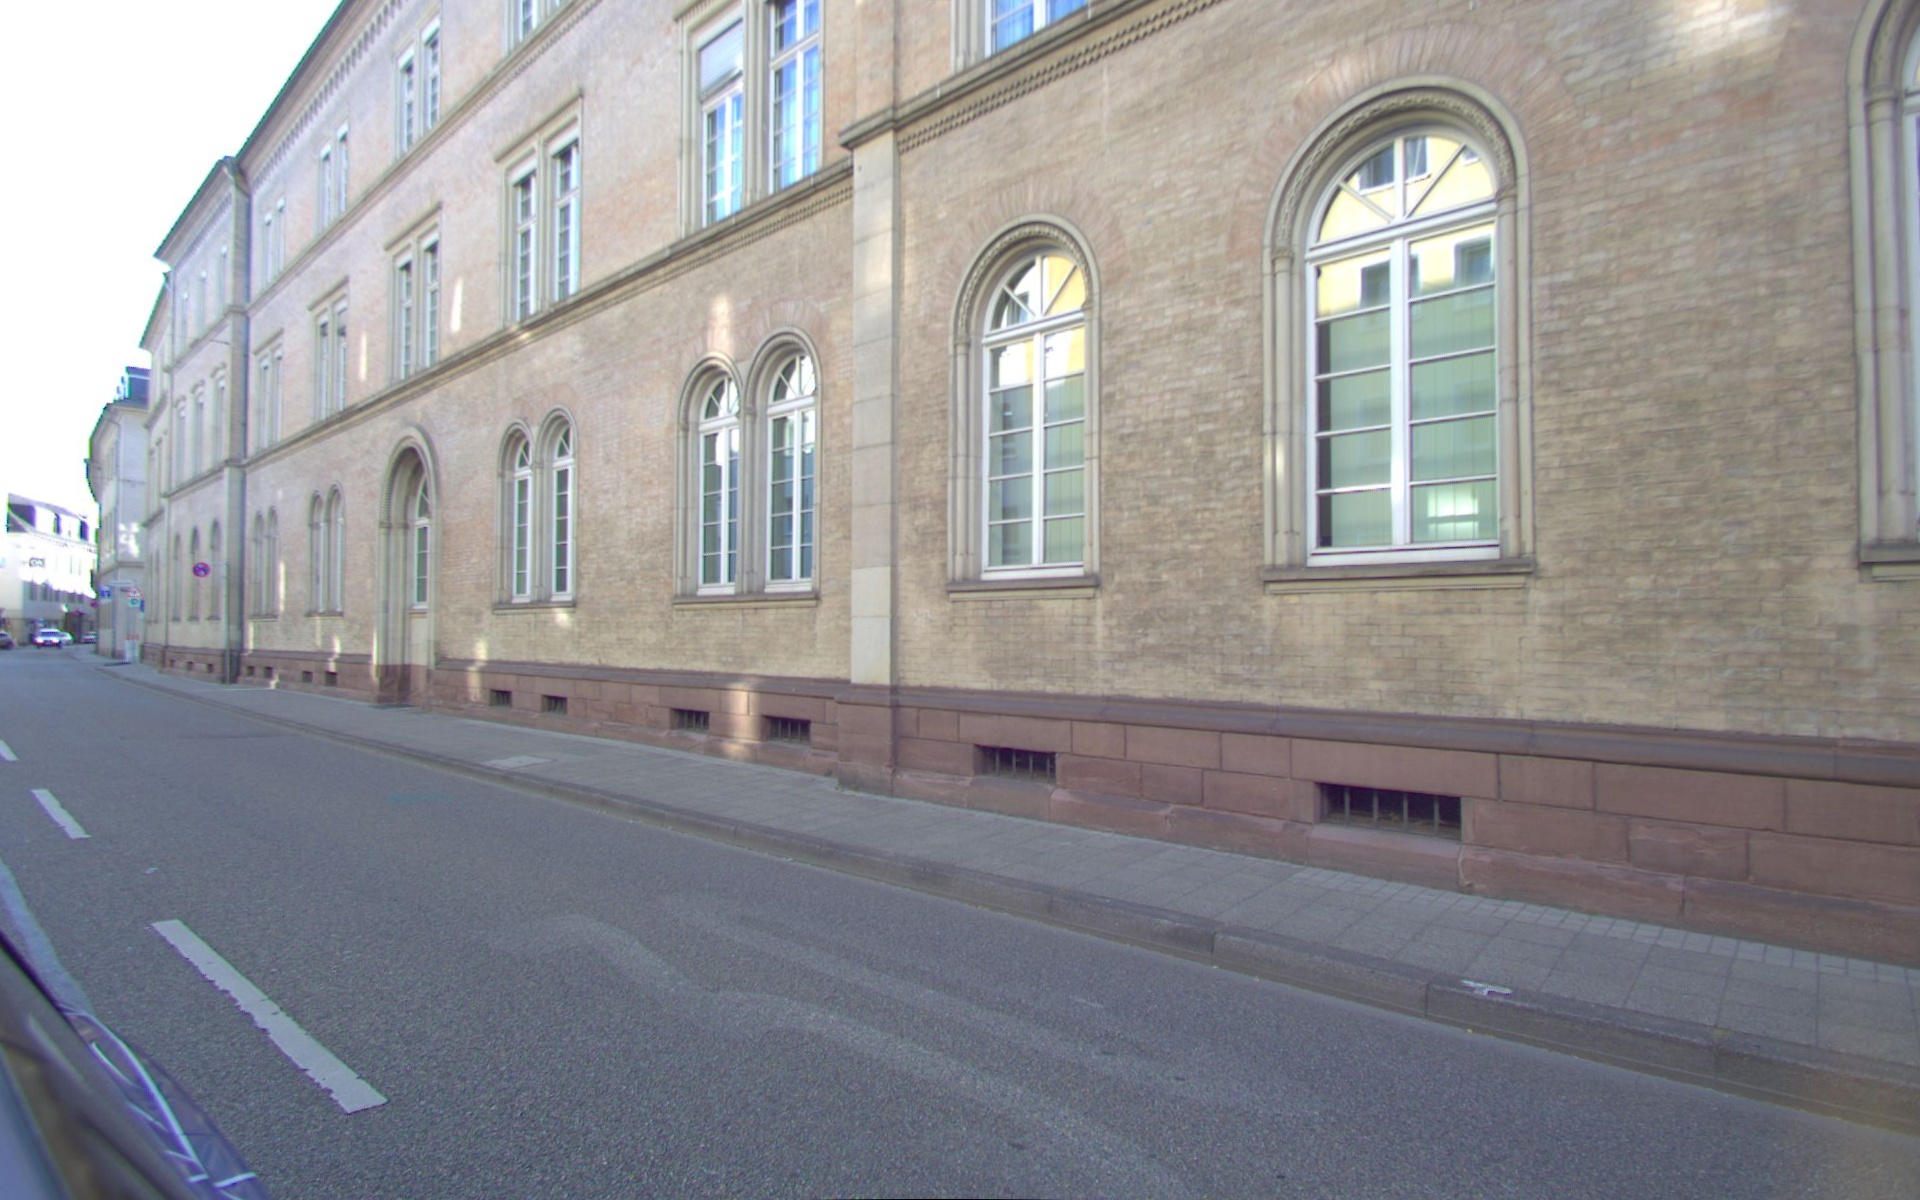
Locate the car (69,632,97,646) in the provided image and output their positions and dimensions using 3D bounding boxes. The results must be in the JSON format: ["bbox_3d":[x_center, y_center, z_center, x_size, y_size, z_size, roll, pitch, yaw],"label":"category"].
[{"bbox_3d":[-109.339,4.898,126.255,1.896,1.737,4.242,1,-2,-31],"label":"car"}]

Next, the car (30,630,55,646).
[{"bbox_3d":[-102.374,4.231,112.907,1.511,1.737,3.749,1,-2,-34],"label":"car"}]

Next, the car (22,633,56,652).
[{"bbox_3d":[-84.699,3.897,93.107,1.893,1.735,4.970,1,-2,-38],"label":"car"}]

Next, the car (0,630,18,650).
[{"bbox_3d":[-80.818,3.337,84.515,1.831,1.737,3.751,1,-2,-20],"label":"car"}]

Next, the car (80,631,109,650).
[{"bbox_3d":[-80.284,3.784,93.910,1.638,1.737,3.748,1,-2,-36],"label":"car"}]
